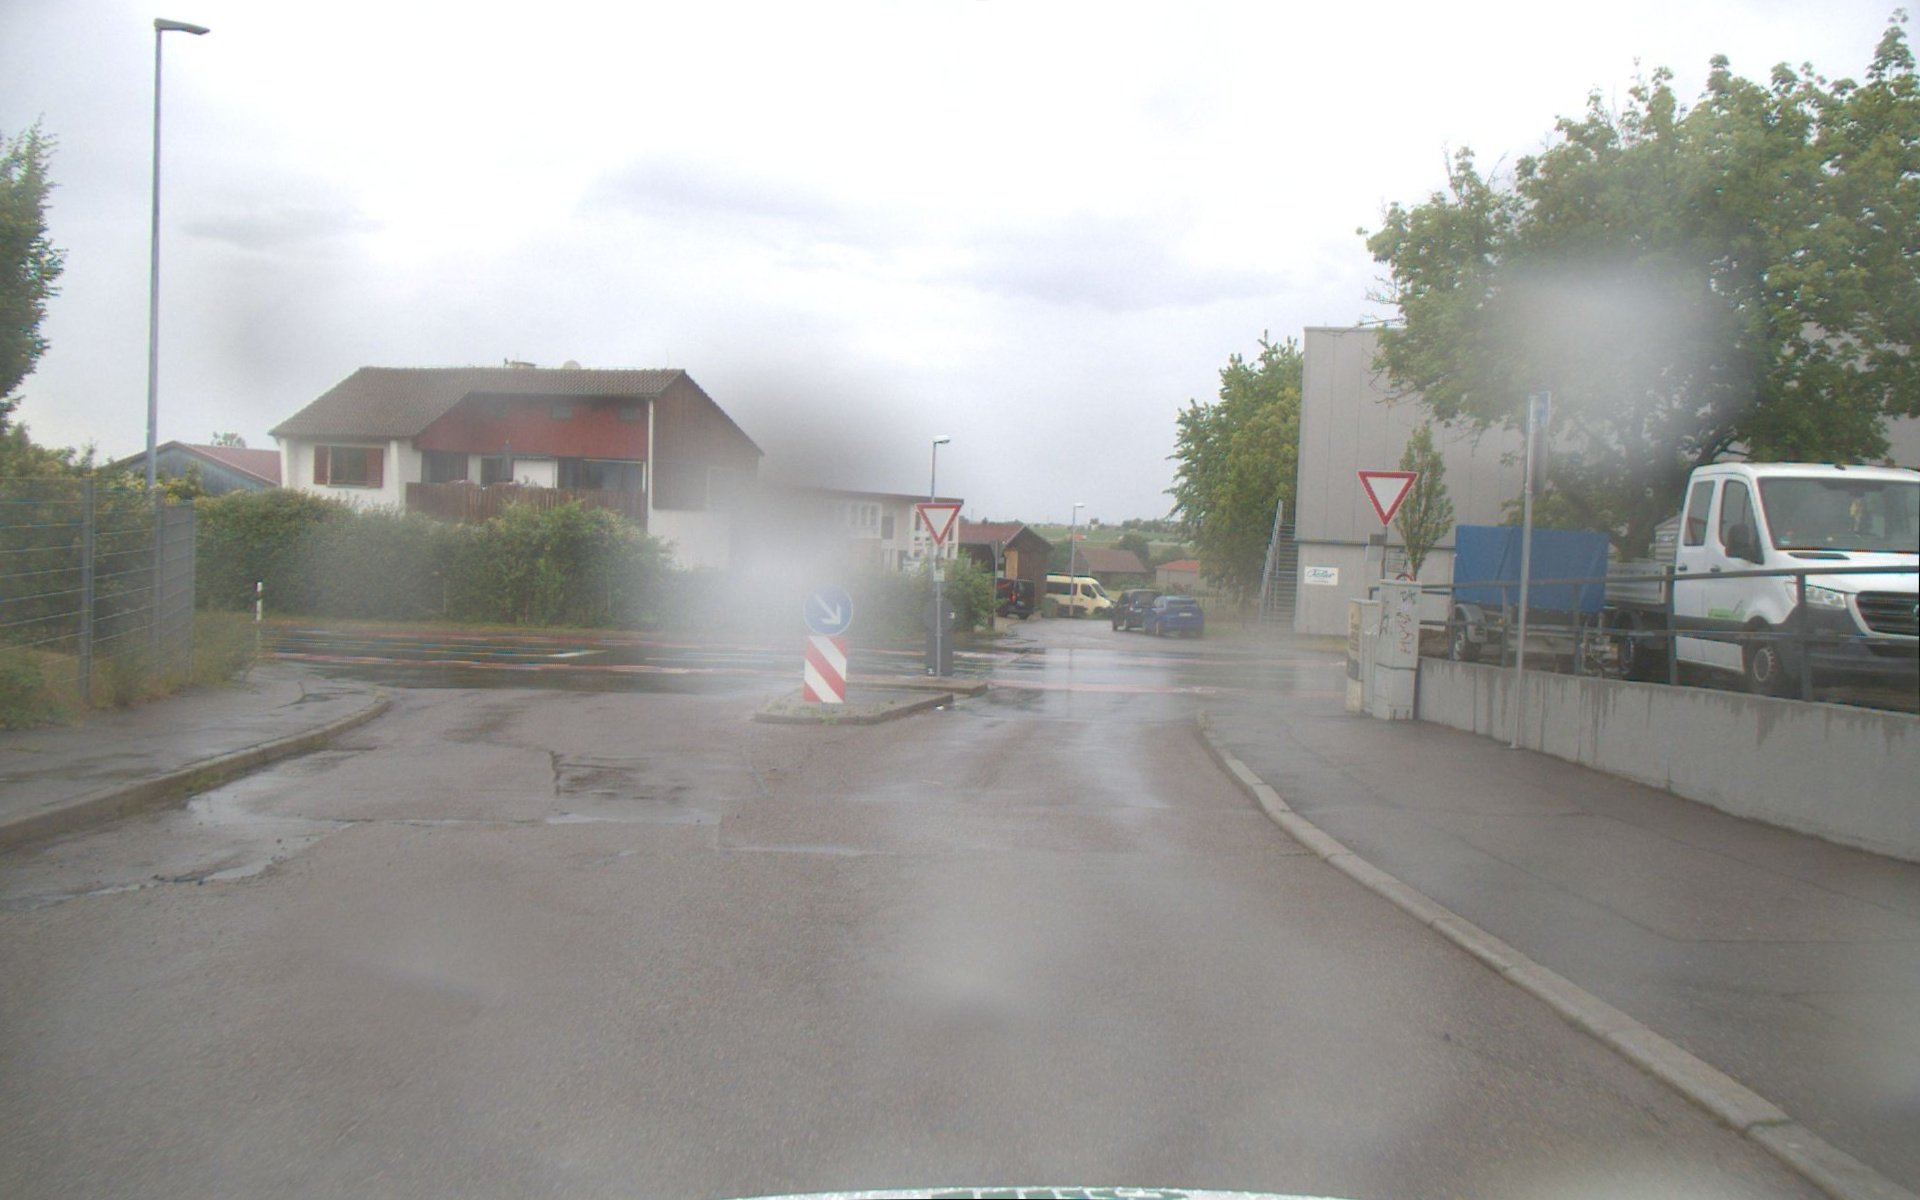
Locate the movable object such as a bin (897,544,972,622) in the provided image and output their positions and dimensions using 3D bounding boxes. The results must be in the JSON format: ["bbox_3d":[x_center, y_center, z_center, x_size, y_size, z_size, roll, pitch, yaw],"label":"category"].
[{"bbox_3d":[-0.853,-0.568,57.424,1.696,2.601,3.342,1,0,15],"label":"movable object such as a bin"}]

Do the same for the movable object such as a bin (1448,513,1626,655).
[{"bbox_3d":[6.622,-0.177,19.115,1.281,1.526,1.857,1,0,-5],"label":"movable object such as a bin"}]

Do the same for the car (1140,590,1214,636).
[{"bbox_3d":[8.179,0.449,62.721,1.913,1.638,4.443,1,0,-4],"label":"car"}]

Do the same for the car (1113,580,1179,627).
[{"bbox_3d":[7.721,0.128,69.100,2.033,1.867,4.468,1,0,-3],"label":"car"}]

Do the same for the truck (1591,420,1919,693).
[{"bbox_3d":[8.304,-0.356,16.564,2.061,2.252,5.655,1,0,3],"label":"truck"}]

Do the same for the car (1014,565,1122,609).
[{"bbox_3d":[6.394,-0.751,98.204,5.886,2.457,2.463,1,0,22],"label":"car"}]

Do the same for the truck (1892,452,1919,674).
[{"bbox_3d":[11.201,-0.371,15.835,2.195,2.382,4.840,1,0,6],"label":"truck"}]

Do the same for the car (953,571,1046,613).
[{"bbox_3d":[1.913,-0.394,80.650,4.335,1.938,1.986,2,0,44],"label":"car"}]
